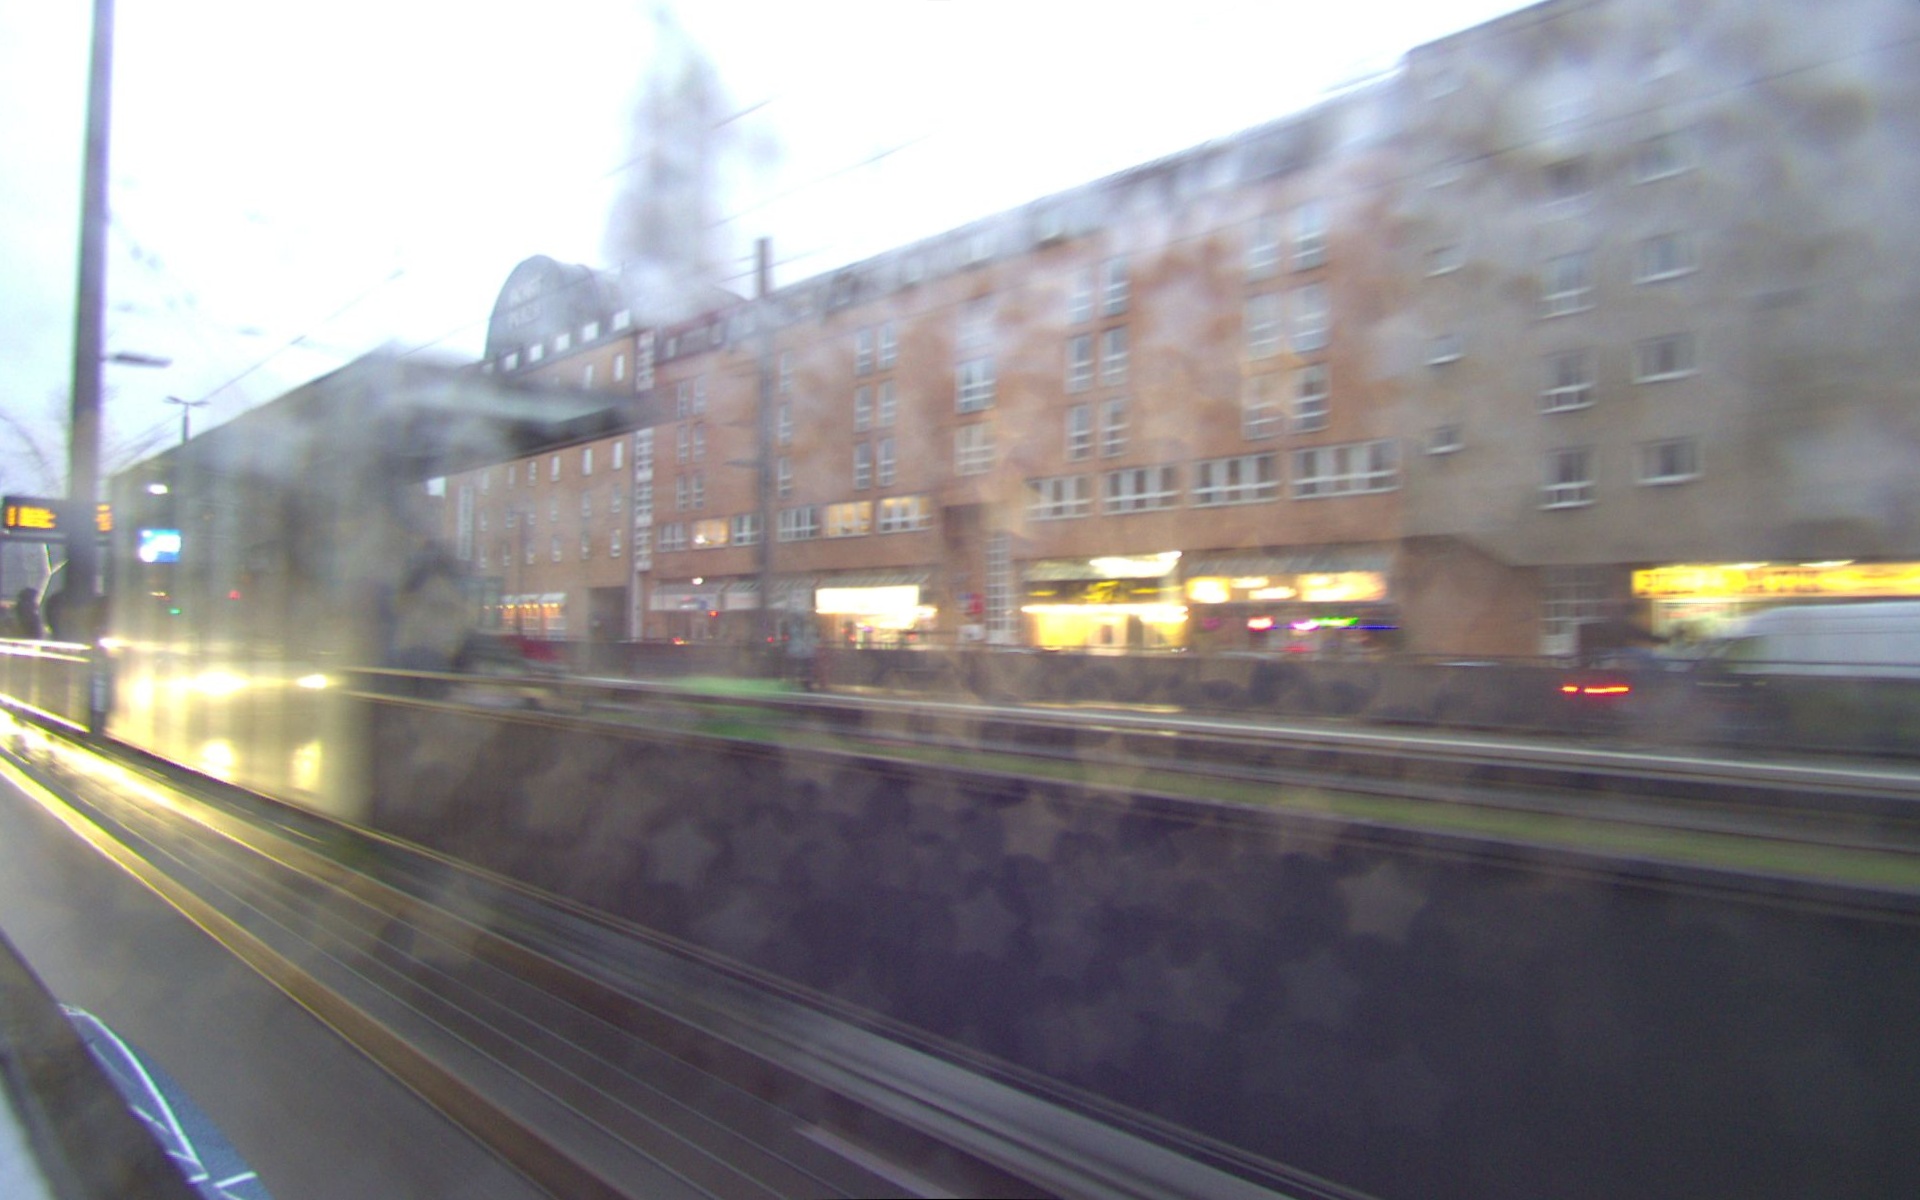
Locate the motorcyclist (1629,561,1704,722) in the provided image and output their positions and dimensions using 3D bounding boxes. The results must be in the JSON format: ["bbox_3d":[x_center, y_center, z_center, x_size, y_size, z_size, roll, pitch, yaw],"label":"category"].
[{"bbox_3d":[6.871,0.396,9.851,0.555,1.507,0.494,-1,-1,36],"label":"motorcyclist"}]

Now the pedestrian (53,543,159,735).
[{"bbox_3d":[-9.949,0.448,11.796,0.804,2.126,0.801,-2,-3,41],"label":"pedestrian"}]

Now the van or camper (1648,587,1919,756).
[{"bbox_3d":[16.219,1.151,17.417,2.739,2.702,6.762,0,-1,-42],"label":"van or camper"}]

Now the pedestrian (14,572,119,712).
[{"bbox_3d":[-12.877,0.600,14.612,0.791,1.962,0.814,0,-2,-9],"label":"pedestrian"}]

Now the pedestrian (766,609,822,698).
[{"bbox_3d":[-2.952,0.938,18.004,0.756,1.536,0.628,-1,-1,41],"label":"pedestrian"}]

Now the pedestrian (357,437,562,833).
[{"bbox_3d":[-2.961,0.201,6.009,0.803,2.126,0.802,-2,-3,38],"label":"pedestrian"}]

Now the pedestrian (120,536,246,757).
[{"bbox_3d":[-7.893,0.461,10.289,0.803,2.126,0.802,-2,-3,38],"label":"pedestrian"}]

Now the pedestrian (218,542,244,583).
[{"bbox_3d":[-34.574,-1.765,47.987,0.882,1.901,0.784,-1,-2,38],"label":"pedestrian"}]

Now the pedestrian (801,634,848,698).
[{"bbox_3d":[-2.452,1.182,18.332,0.591,1.111,0.600,-1,-1,41],"label":"pedestrian"}]

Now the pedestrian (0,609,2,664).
[{"bbox_3d":[-28.256,1.066,29.335,0.621,1.602,0.612,-1,-2,38],"label":"pedestrian"}]

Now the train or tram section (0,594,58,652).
[{"bbox_3d":[-62.991,1.502,67.562,11.030,3.595,2.869,-1,-1,42],"label":"train or tram section"}]

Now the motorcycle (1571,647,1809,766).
[{"bbox_3d":[6.979,0.982,9.762,1.804,1.016,0.508,-1,-1,37],"label":"motorcycle"}]

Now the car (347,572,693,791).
[{"bbox_3d":[-3.700,0.569,8.313,3.135,1.453,1.416,-1,-1,41],"label":"car"}]

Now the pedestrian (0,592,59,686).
[{"bbox_3d":[-17.546,0.719,18.927,0.768,1.717,0.773,-1,-2,23],"label":"pedestrian"}]
